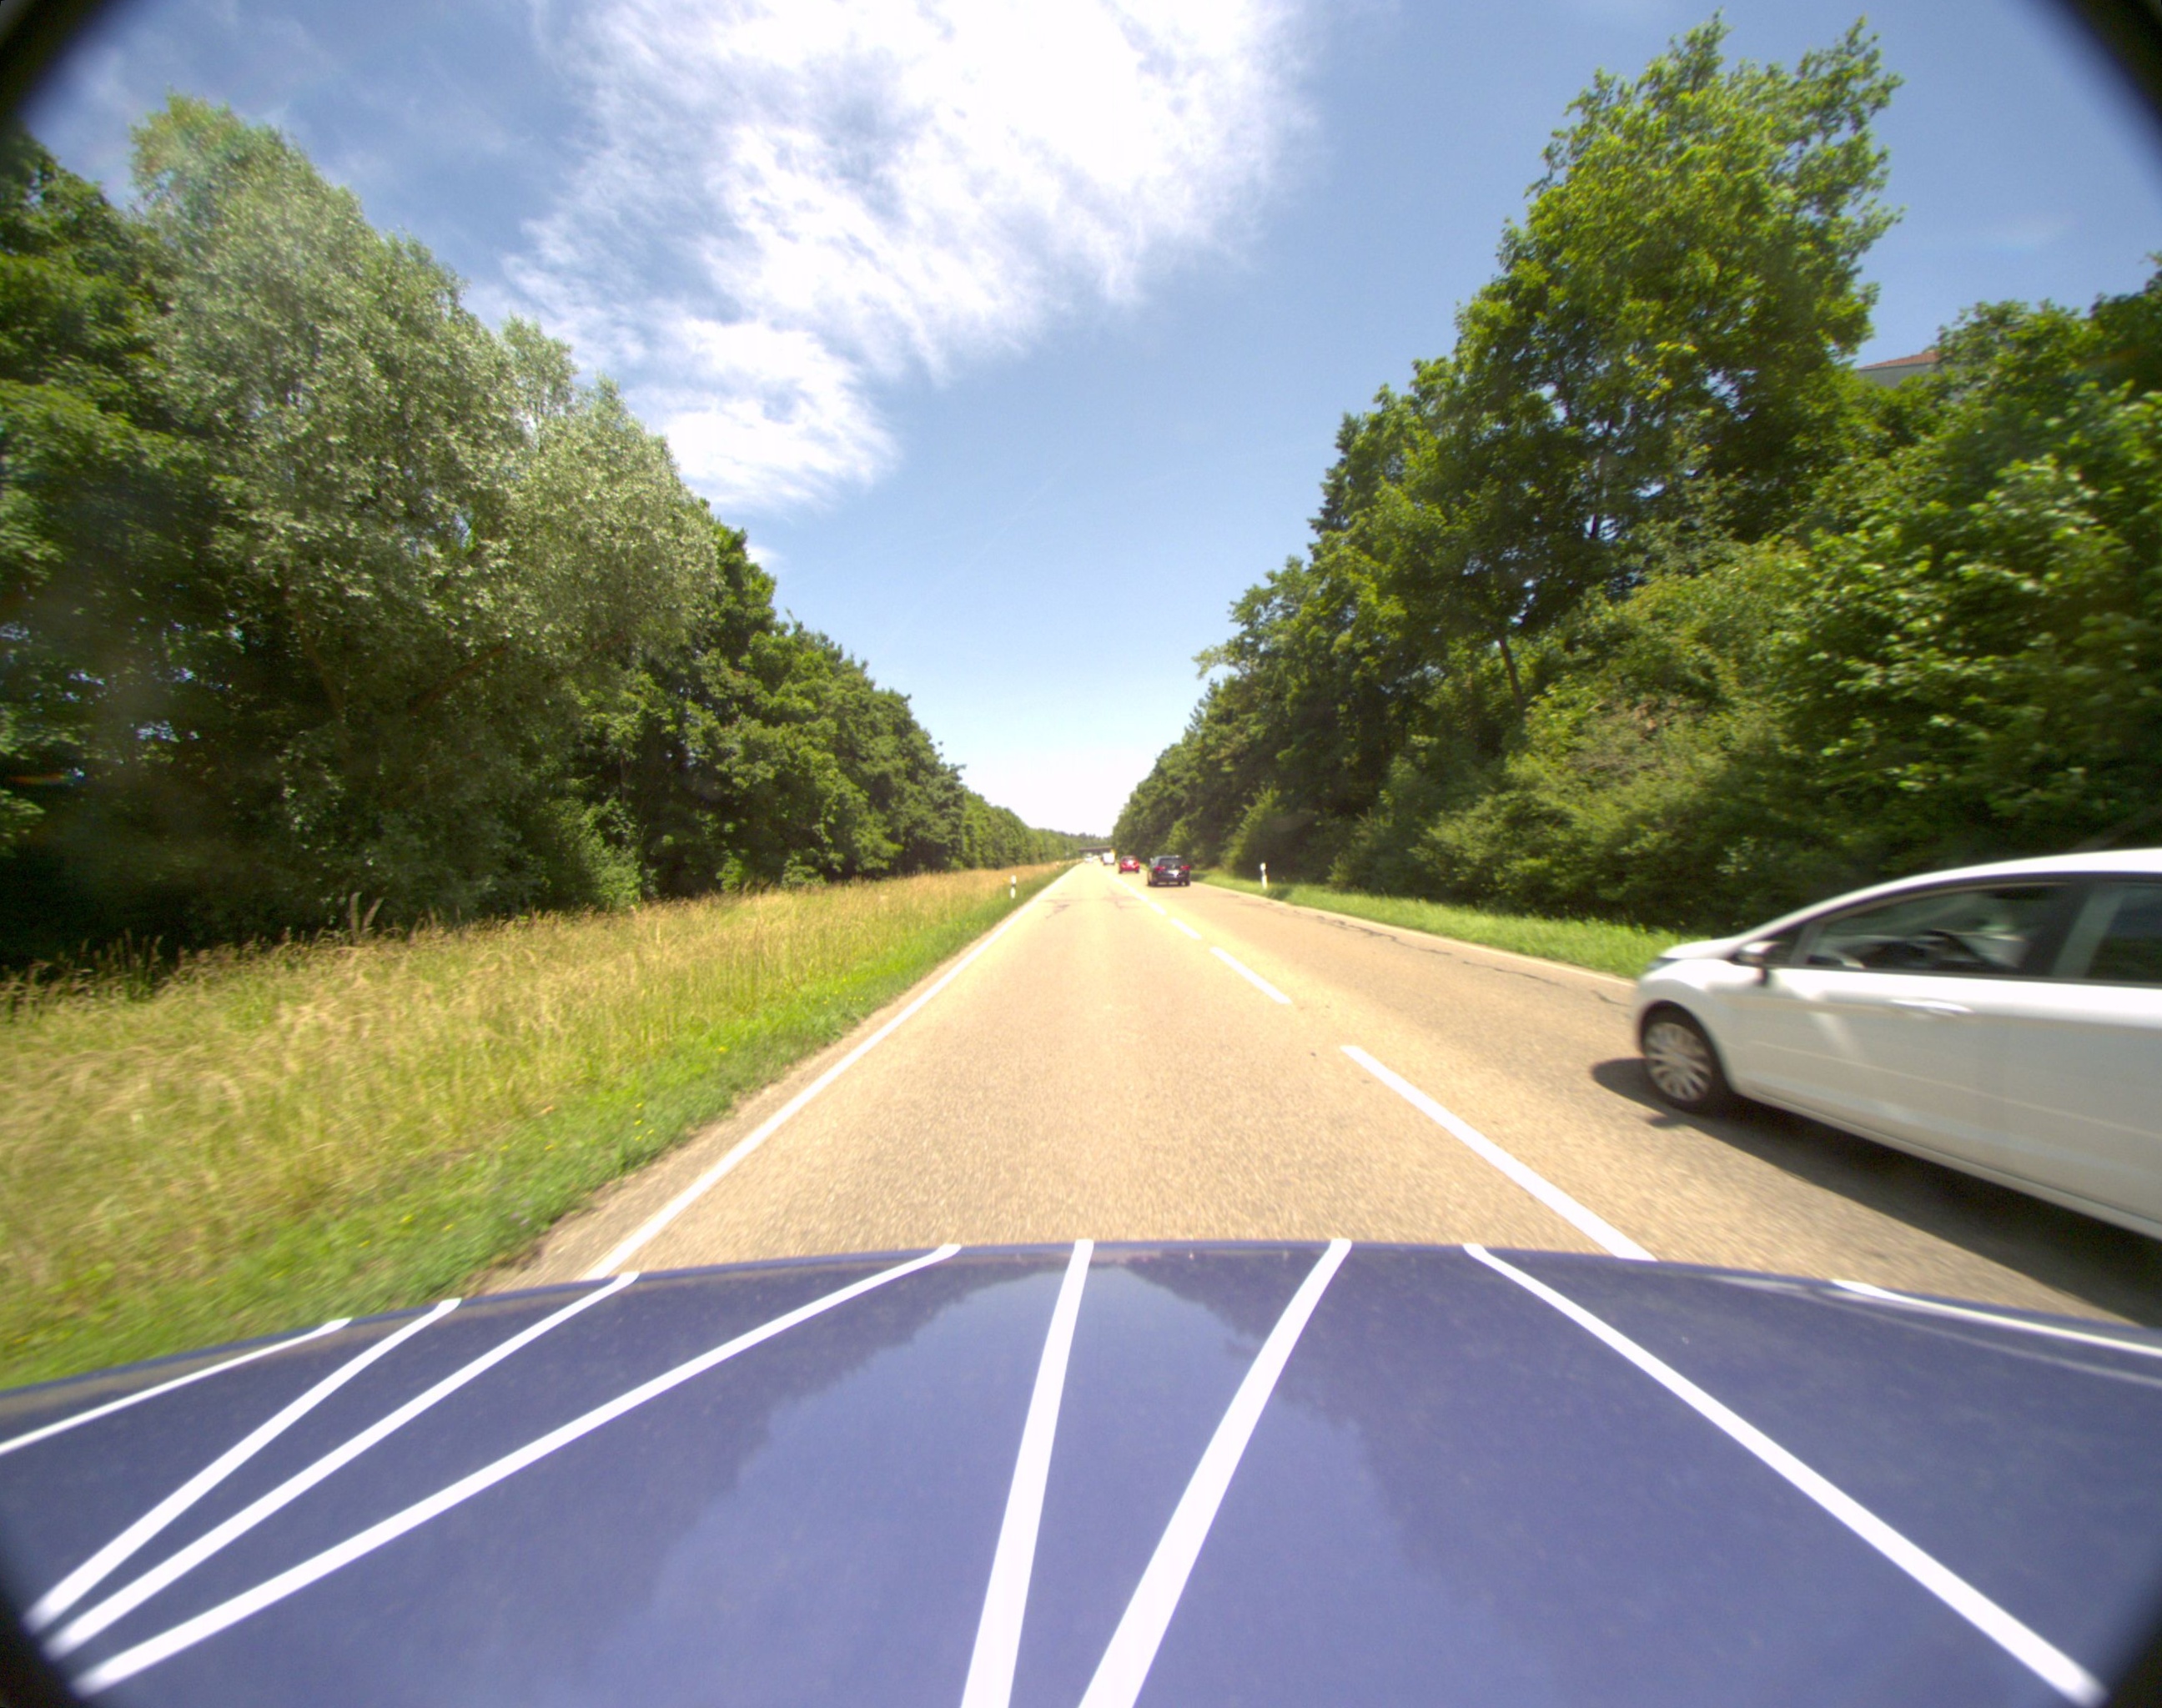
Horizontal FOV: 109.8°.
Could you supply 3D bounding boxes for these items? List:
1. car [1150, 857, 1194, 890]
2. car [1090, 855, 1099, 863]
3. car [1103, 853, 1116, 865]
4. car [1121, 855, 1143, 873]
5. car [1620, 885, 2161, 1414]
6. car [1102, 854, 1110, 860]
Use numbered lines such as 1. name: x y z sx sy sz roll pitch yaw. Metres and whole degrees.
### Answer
1. car: 4.364 0.918 37.063 1.788 1.441 4.110 -2 0 2
2. car: 3.231 1.276 184.344 1.865 1.747 4.000 -2 0 0
3. car: 4.698 0.797 125.623 1.880 1.917 4.987 -2 0 1
4. car: 4.445 0.865 66.193 1.686 1.484 4.000 -2 0 2
5. car: 4.024 0.919 2.659 1.681 1.425 3.772 -1 0 2
6. car: 7.043 0.934 214.150 1.870 1.615 4.200 -2 0 0
